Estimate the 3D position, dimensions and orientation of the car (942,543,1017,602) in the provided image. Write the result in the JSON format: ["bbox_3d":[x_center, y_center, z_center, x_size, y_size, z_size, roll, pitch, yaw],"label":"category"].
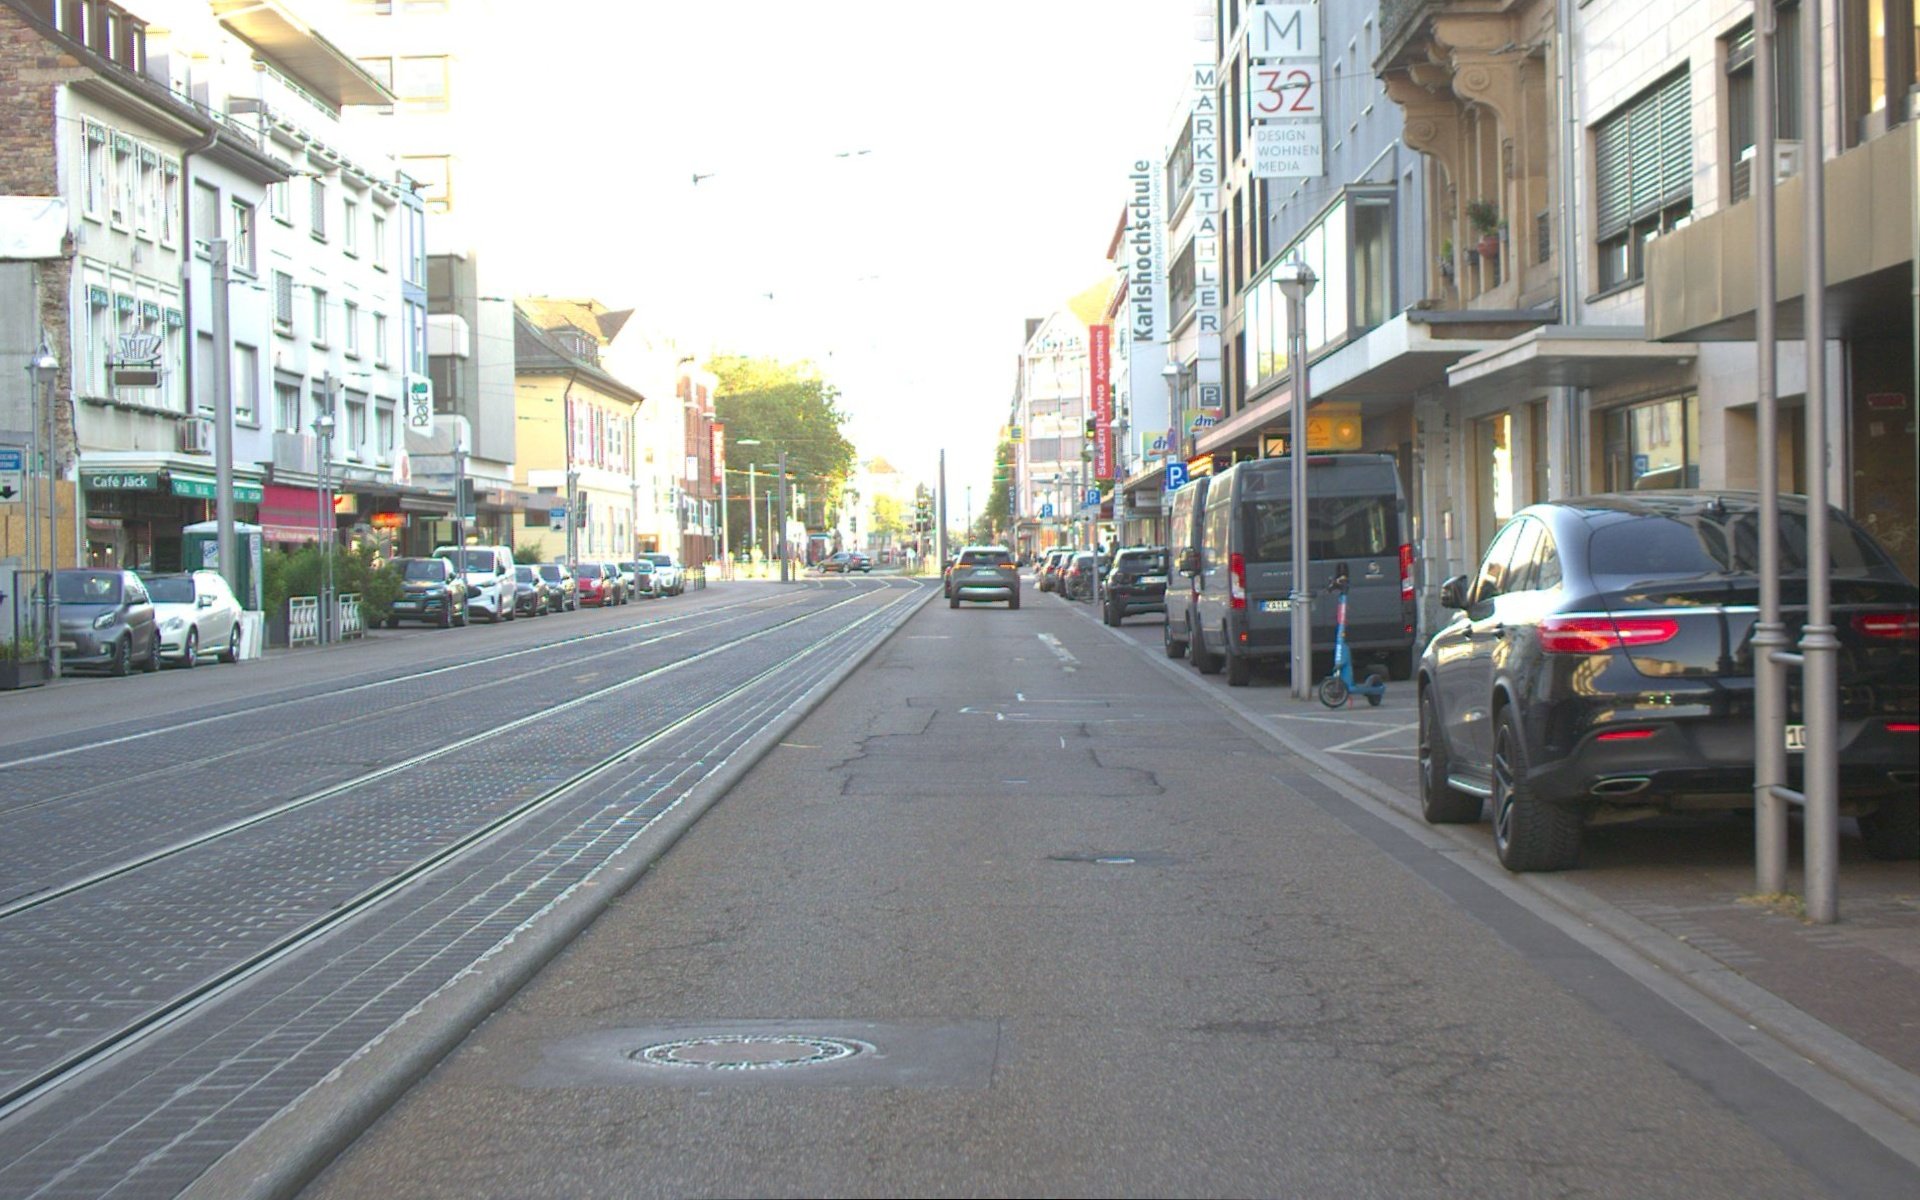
[{"bbox_3d":[0.561,-0.775,92.800,1.944,1.539,4.544,0,1,1],"label":"car"}]

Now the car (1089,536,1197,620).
[{"bbox_3d":[3.647,-0.473,69.205,1.944,1.539,4.544,-3,1,1],"label":"car"}]

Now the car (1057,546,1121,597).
[{"bbox_3d":[4.216,-0.969,113.041,1.944,1.539,4.544,-3,1,1],"label":"car"}]

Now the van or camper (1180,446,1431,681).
[{"bbox_3d":[3.914,-0.436,40.037,2.188,2.418,6.133,-3,1,0],"label":"van or camper"}]

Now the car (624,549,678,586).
[{"bbox_3d":[-12.294,-1.308,137.145,1.791,1.444,3.892,1,1,0],"label":"car"}]

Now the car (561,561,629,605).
[{"bbox_3d":[-11.915,-0.570,112.384,1.791,1.334,3.892,1,1,0],"label":"car"}]

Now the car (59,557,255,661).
[{"bbox_3d":[-12.505,0.100,53.839,1.849,1.499,4.842,1,1,1],"label":"car"}]

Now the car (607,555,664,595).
[{"bbox_3d":[-12.368,-0.971,131.104,1.791,1.444,3.892,1,1,0],"label":"car"}]

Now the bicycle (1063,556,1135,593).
[{"bbox_3d":[4.177,-0.766,103.627,2.118,1.087,0.592,-1,1,-2],"label":"bicycle"}]

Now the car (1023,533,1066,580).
[{"bbox_3d":[4.091,-2.122,167.339,1.944,2.138,4.544,-3,1,1],"label":"car"}]

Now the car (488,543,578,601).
[{"bbox_3d":[-11.944,-0.800,96.402,1.917,1.516,4.630,1,1,0],"label":"car"}]

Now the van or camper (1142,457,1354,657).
[{"bbox_3d":[3.796,-0.582,46.326,2.188,2.418,5.518,-3,1,-1],"label":"van or camper"}]

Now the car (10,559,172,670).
[{"bbox_3d":[-12.440,0.190,49.318,1.591,1.499,2.812,1,1,0],"label":"car"}]

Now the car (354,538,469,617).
[{"bbox_3d":[-12.846,-0.539,80.729,1.917,1.757,4.430,1,1,1],"label":"car"}]

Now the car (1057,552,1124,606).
[{"bbox_3d":[4.039,-0.681,106.880,1.944,1.539,4.544,-3,1,1],"label":"car"}]

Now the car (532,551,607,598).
[{"bbox_3d":[-11.633,-0.784,102.694,1.791,1.334,3.892,1,1,0],"label":"car"}]

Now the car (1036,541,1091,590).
[{"bbox_3d":[3.861,-1.318,128.849,1.944,1.697,4.544,-3,1,1],"label":"car"}]

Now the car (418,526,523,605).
[{"bbox_3d":[-12.560,-0.900,88.465,1.917,1.929,4.842,1,1,1],"label":"car"}]

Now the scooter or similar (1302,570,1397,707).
[{"bbox_3d":[3.670,0.354,32.341,0.355,1.220,1.113,-3,1,33],"label":"scooter or similar"}]

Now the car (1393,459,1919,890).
[{"bbox_3d":[3.404,0.275,16.838,1.984,1.728,4.671,-3,1,1],"label":"car"}]

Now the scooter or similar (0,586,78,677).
[{"bbox_3d":[-12.556,0.419,46.181,1.314,1.201,0.294,1,1,1],"label":"scooter or similar"}]
